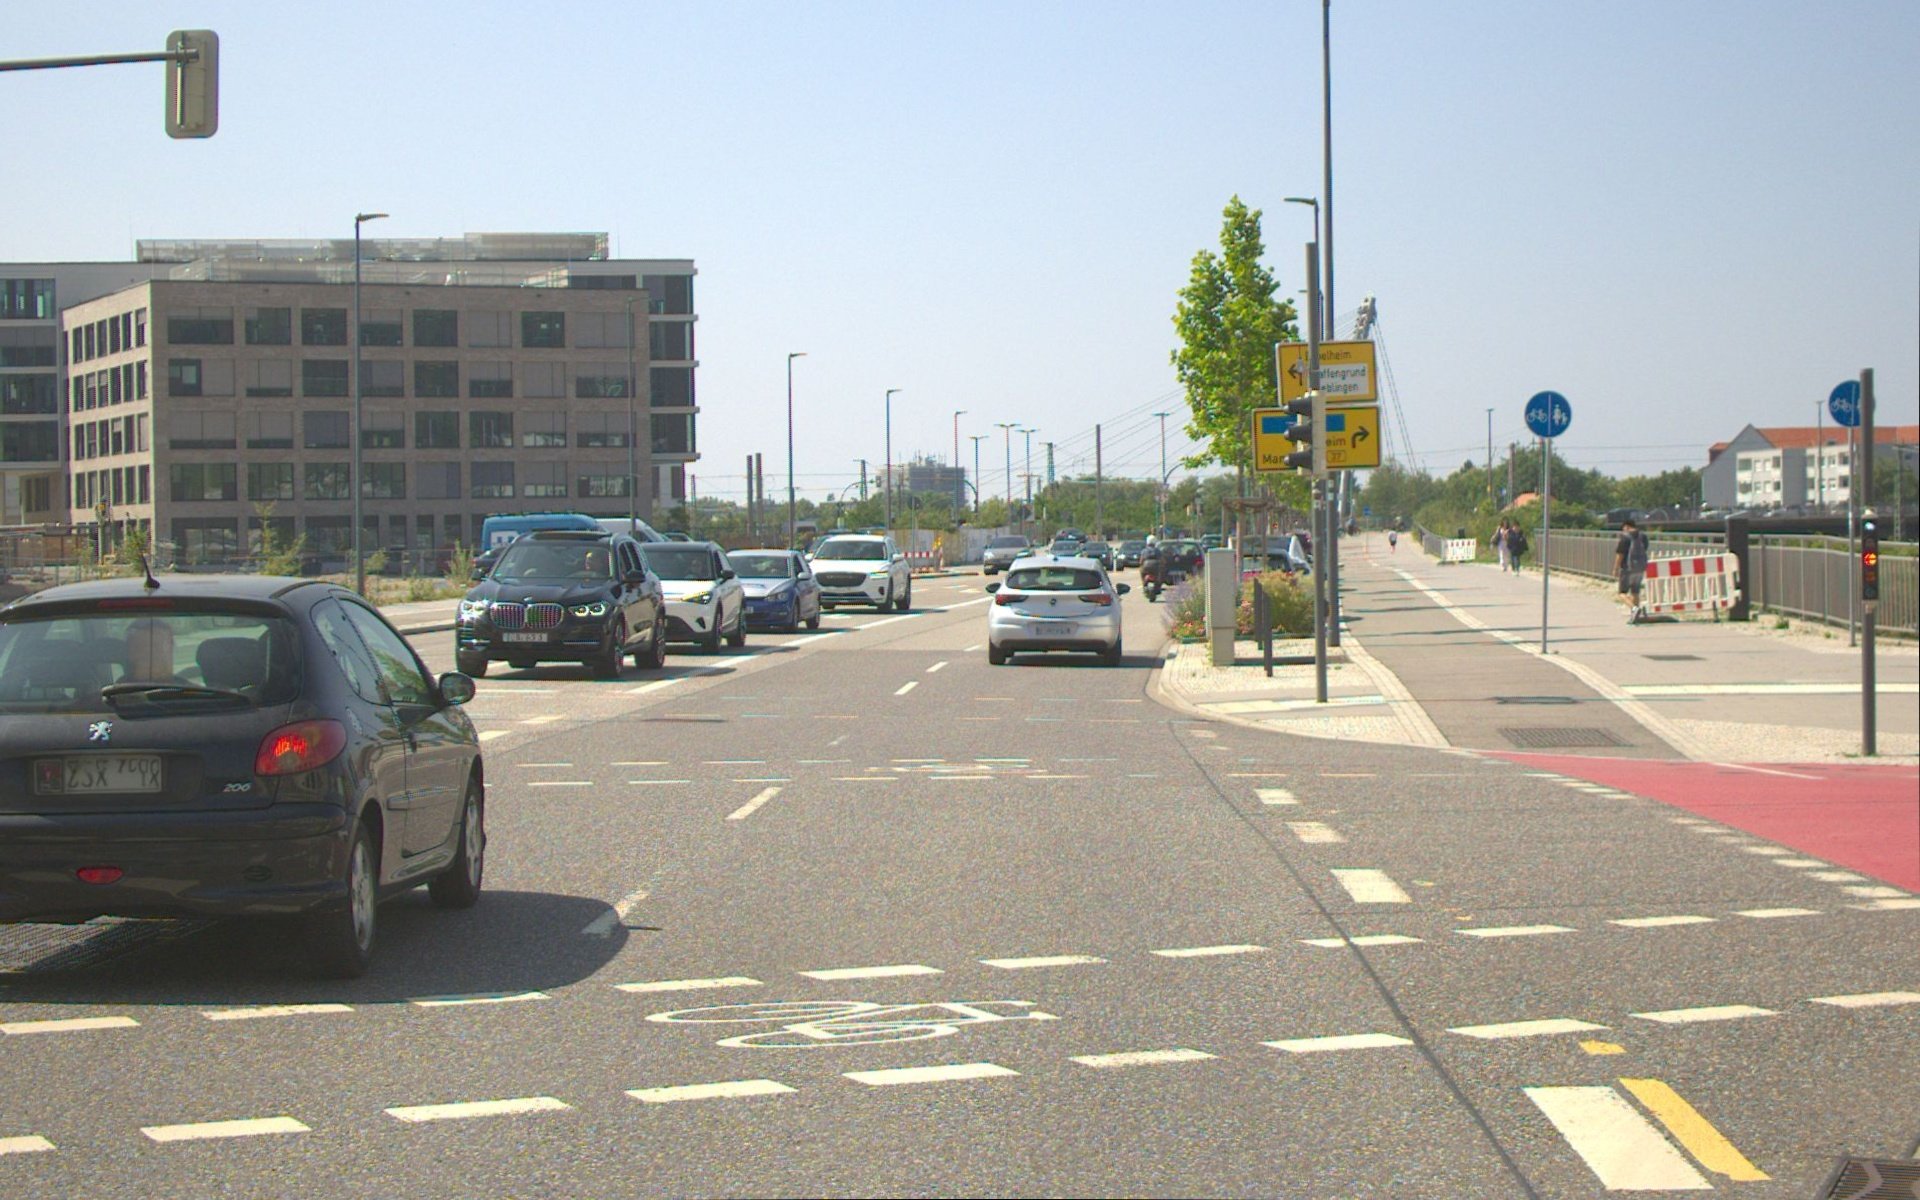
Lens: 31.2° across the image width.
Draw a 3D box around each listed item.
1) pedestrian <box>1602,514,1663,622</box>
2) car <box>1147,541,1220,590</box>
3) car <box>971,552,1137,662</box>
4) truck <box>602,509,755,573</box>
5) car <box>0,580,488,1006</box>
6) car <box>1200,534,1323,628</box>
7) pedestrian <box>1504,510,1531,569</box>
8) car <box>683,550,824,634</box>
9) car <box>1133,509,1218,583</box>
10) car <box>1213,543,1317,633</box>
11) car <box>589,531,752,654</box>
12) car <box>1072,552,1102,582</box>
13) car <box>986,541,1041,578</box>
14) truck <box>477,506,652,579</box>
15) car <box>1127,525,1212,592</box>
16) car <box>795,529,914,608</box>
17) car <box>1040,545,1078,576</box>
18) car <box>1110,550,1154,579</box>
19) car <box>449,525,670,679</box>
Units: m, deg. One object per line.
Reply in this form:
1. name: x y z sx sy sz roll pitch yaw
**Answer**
1. pedestrian: 10.314 -0.496 52.726 0.751 1.603 0.949 -3 1 6
2. car: 6.333 -0.969 97.887 1.632 1.306 4.000 1 0 -2
3. car: 1.341 0.065 47.297 1.779 1.437 3.999 0 1 9
4. truck: -10.871 -2.284 132.918 5.567 2.354 2.275 -1 1 5
5. car: -2.889 0.637 13.265 1.619 1.411 3.727 0 0 0
6. car: 5.127 -0.346 58.135 1.994 1.514 3.999 0 1 6
7. pedestrian: 16.323 -1.767 100.706 0.732 1.699 0.651 1 0 7
8. car: -3.608 -0.157 60.630 1.786 1.416 4.281 0 1 6
9. car: 5.292 -1.316 84.872 1.793 1.744 4.000 1 0 -1
10. car: 5.788 -0.252 65.067 1.872 1.621 4.875 0 1 5
11. car: -4.292 -0.151 51.533 1.779 1.676 4.099 -2 1 4
12. car: 6.918 -1.811 187.324 1.579 1.557 3.673 1 0 2
13. car: 2.148 -1.624 137.542 1.894 1.410 3.597 1 0 6
14. truck: -14.485 -2.102 126.060 6.005 2.534 2.275 -1 1 3
15. car: 5.177 -1.001 84.646 1.778 1.563 3.999 1 0 8
16. car: -2.227 -0.687 74.144 1.913 1.644 4.729 0 1 6
17. car: 4.825 -1.922 166.898 1.794 1.411 4.000 1 0 2
18. car: 8.533 -1.787 170.420 1.788 1.393 4.570 0 1 7
19. car: -4.949 -0.030 43.110 1.939 1.782 4.655 1 2 4
